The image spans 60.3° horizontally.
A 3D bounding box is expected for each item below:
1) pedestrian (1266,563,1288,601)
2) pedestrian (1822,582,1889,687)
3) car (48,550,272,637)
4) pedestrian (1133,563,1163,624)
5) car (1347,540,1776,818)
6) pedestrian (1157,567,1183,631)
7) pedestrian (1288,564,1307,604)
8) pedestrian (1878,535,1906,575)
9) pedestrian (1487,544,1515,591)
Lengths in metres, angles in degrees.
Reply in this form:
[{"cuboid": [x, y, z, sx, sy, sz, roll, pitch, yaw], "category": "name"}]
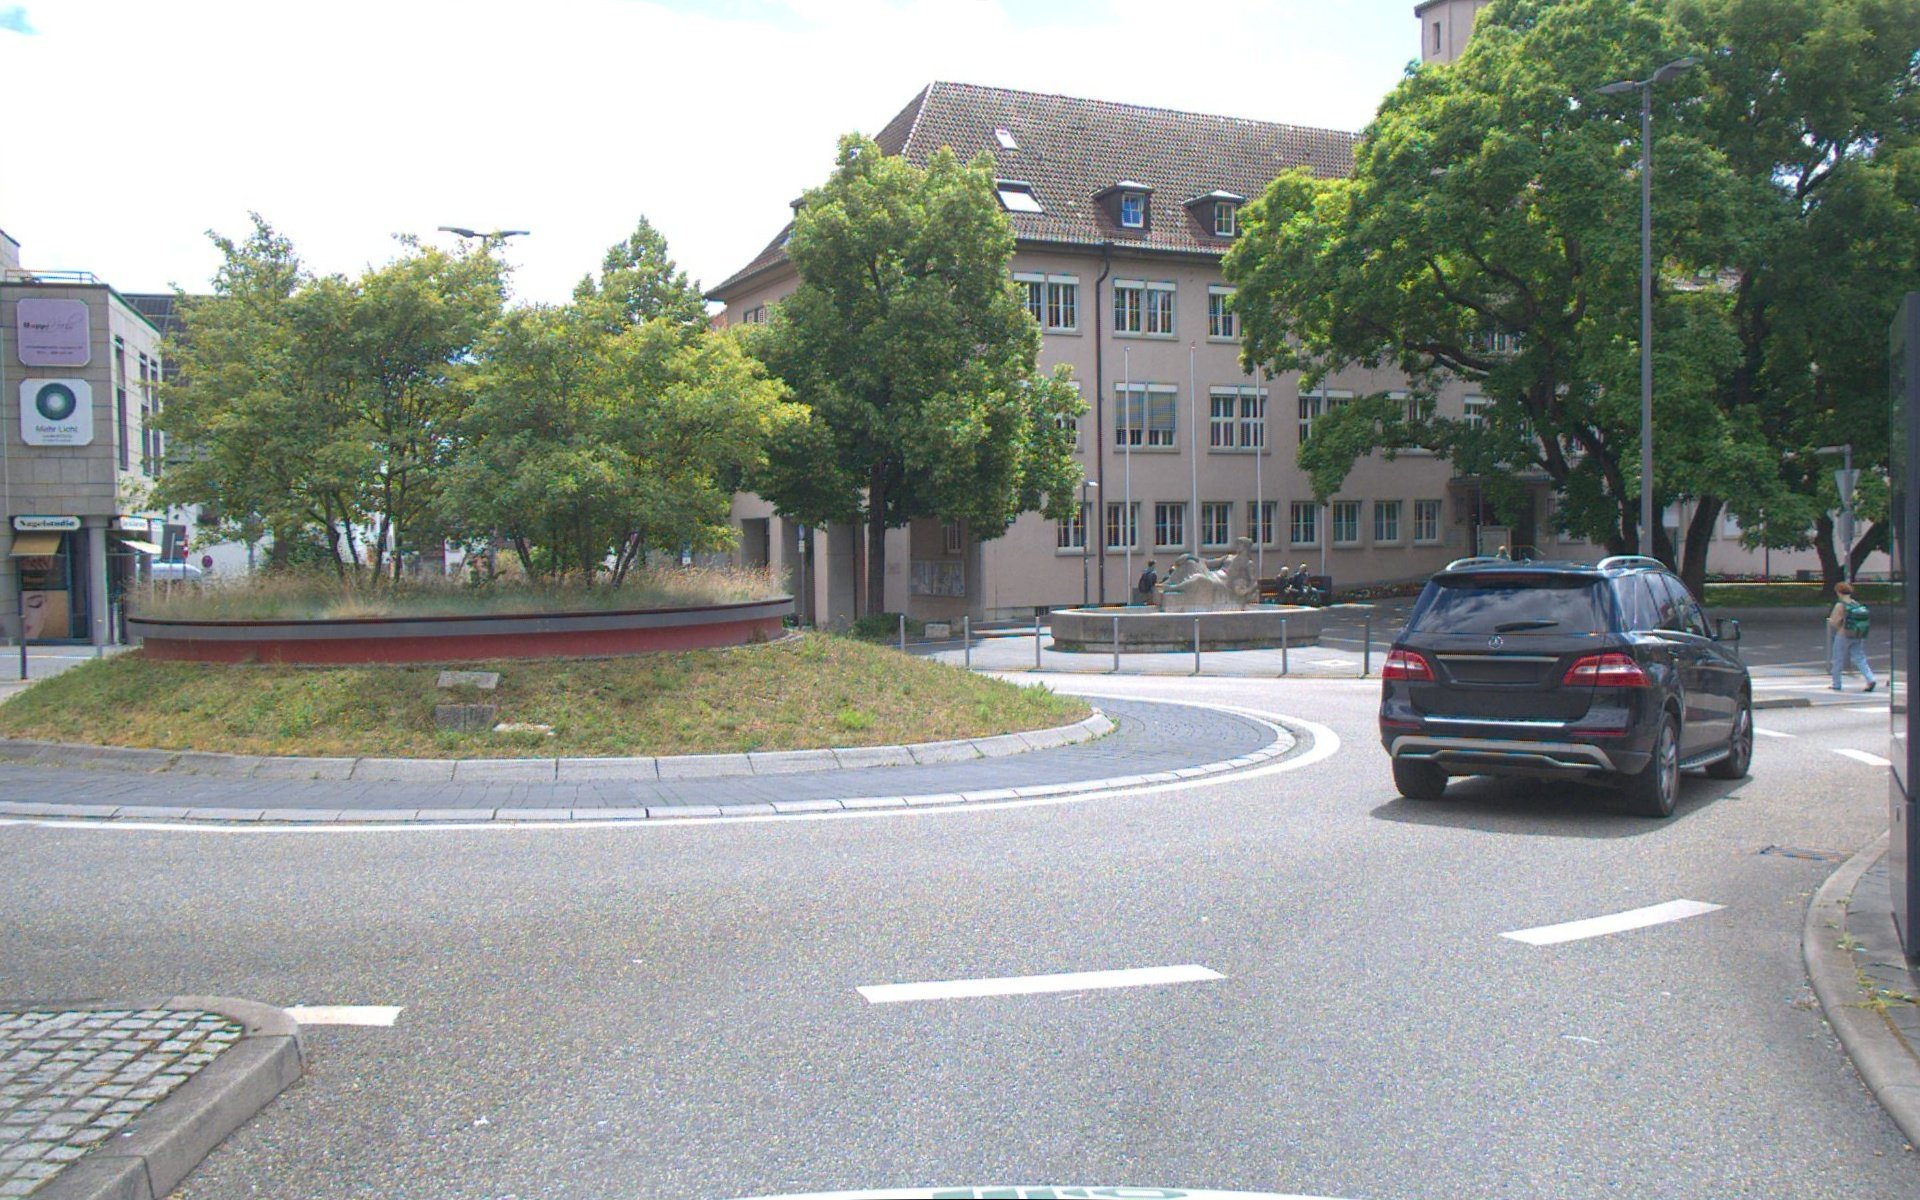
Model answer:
[{"cuboid": [9.929, -0.566, 51.827, 0.478, 1.183, 0.579, 1, 1, 32], "category": "pedestrian"}, {"cuboid": [13.652, 0.514, 25.227, 0.540, 1.540, 0.786, -2, 3, -10], "category": "pedestrian"}, {"cuboid": [-25.515, -0.147, 52.886, 6.227, 2.605, 2.181, 1, -3, -34], "category": "car"}, {"cuboid": [4.954, -0.169, 43.539, 0.625, 1.549, 0.576, 0, 4, -9], "category": "pedestrian"}, {"cuboid": [4.827, 0.469, 12.847, 1.993, 1.757, 4.416, -1, 0, 36], "category": "car"}, {"cuboid": [5.449, -0.026, 42.924, 0.562, 1.636, 0.437, 0, 4, -9], "category": "pedestrian"}, {"cuboid": [10.440, -0.494, 51.136, 0.477, 1.203, 0.580, 1, 0, 24], "category": "pedestrian"}, {"cuboid": [36.984, -1.781, 65.645, 0.775, 1.604, 0.632, -1, 1, -23], "category": "pedestrian"}, {"cuboid": [17.630, -1.056, 53.917, 0.683, 1.519, 0.816, 1, 0, 5], "category": "pedestrian"}]
